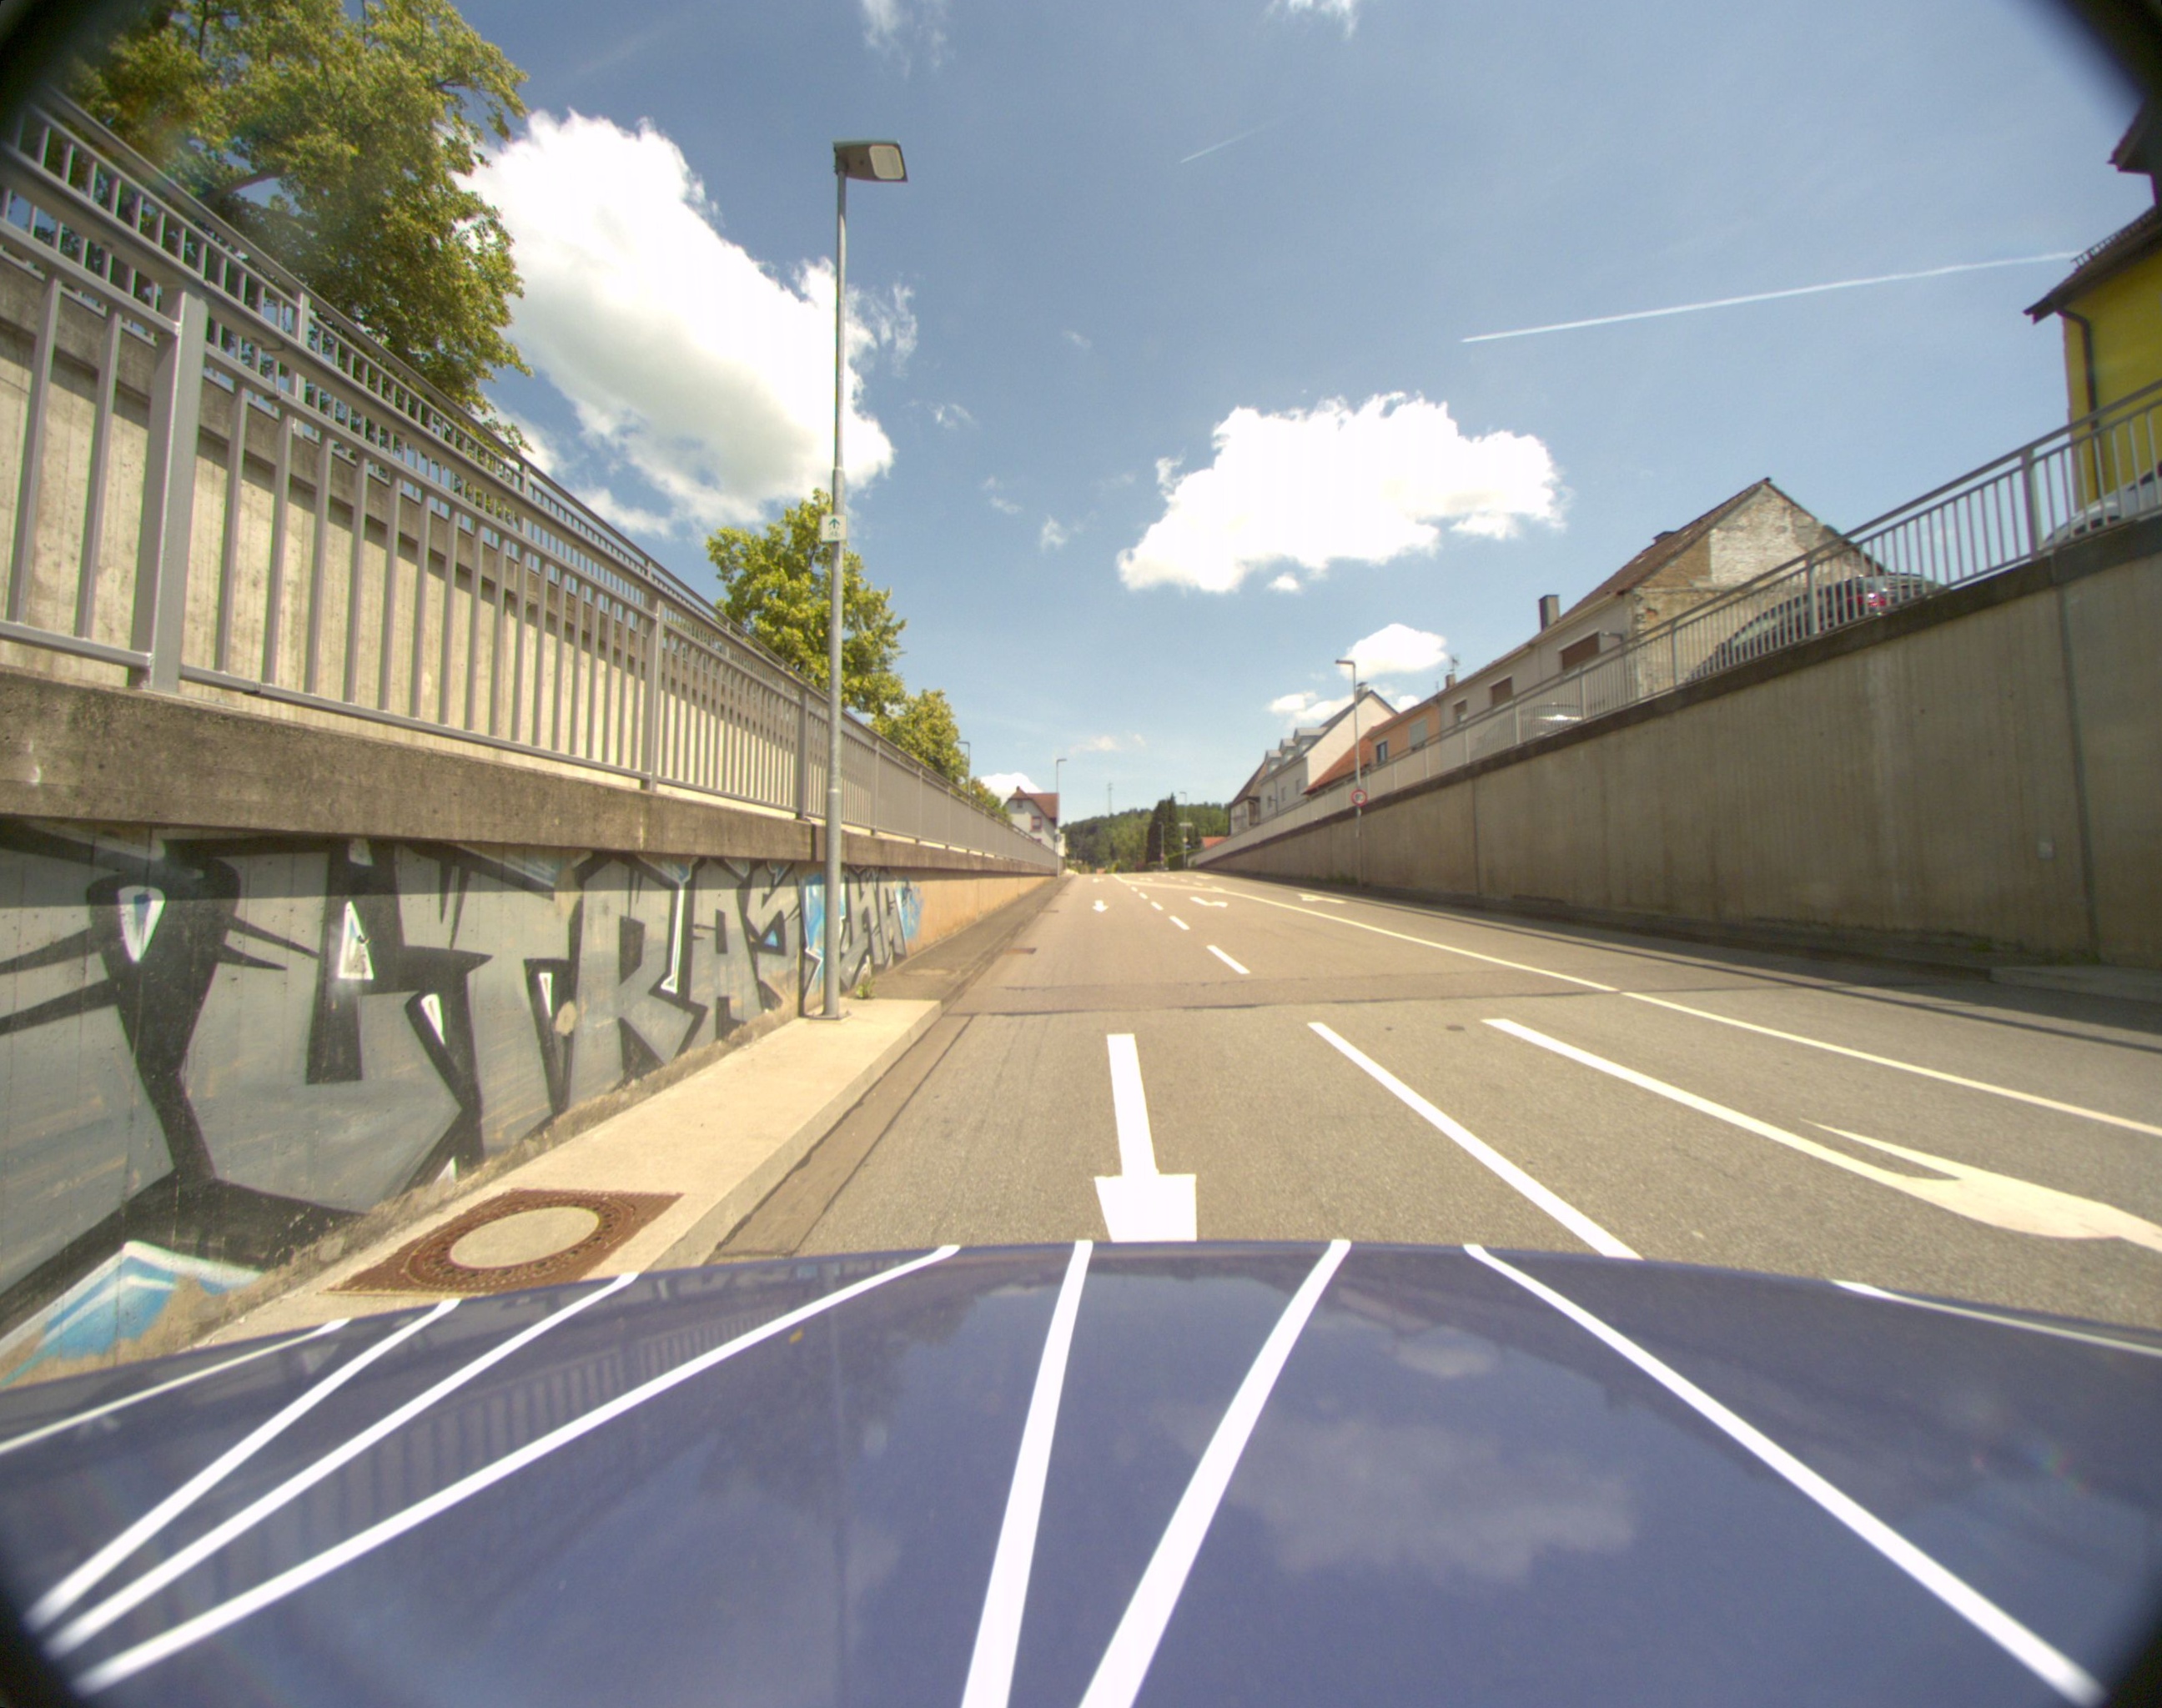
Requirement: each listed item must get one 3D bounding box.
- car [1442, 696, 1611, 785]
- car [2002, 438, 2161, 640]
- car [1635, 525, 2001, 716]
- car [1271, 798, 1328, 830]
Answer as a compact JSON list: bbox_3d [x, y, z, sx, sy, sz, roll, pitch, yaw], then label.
[{"bbox_3d":[11.608,-2.886,20.214,1.803,1.515,4.394,-1,-2,-1],"label":"car"},{"bbox_3d":[12.067,-3.490,7.132,1.907,1.657,4.001,-1,-2,-1],"label":"car"},{"bbox_3d":[11.673,-3.601,12.558,1.827,1.695,4.223,-1,-2,-1],"label":"car"},{"bbox_3d":[12.198,-2.193,42.696,1.790,1.396,4.394,-1,-2,-1],"label":"car"}]
